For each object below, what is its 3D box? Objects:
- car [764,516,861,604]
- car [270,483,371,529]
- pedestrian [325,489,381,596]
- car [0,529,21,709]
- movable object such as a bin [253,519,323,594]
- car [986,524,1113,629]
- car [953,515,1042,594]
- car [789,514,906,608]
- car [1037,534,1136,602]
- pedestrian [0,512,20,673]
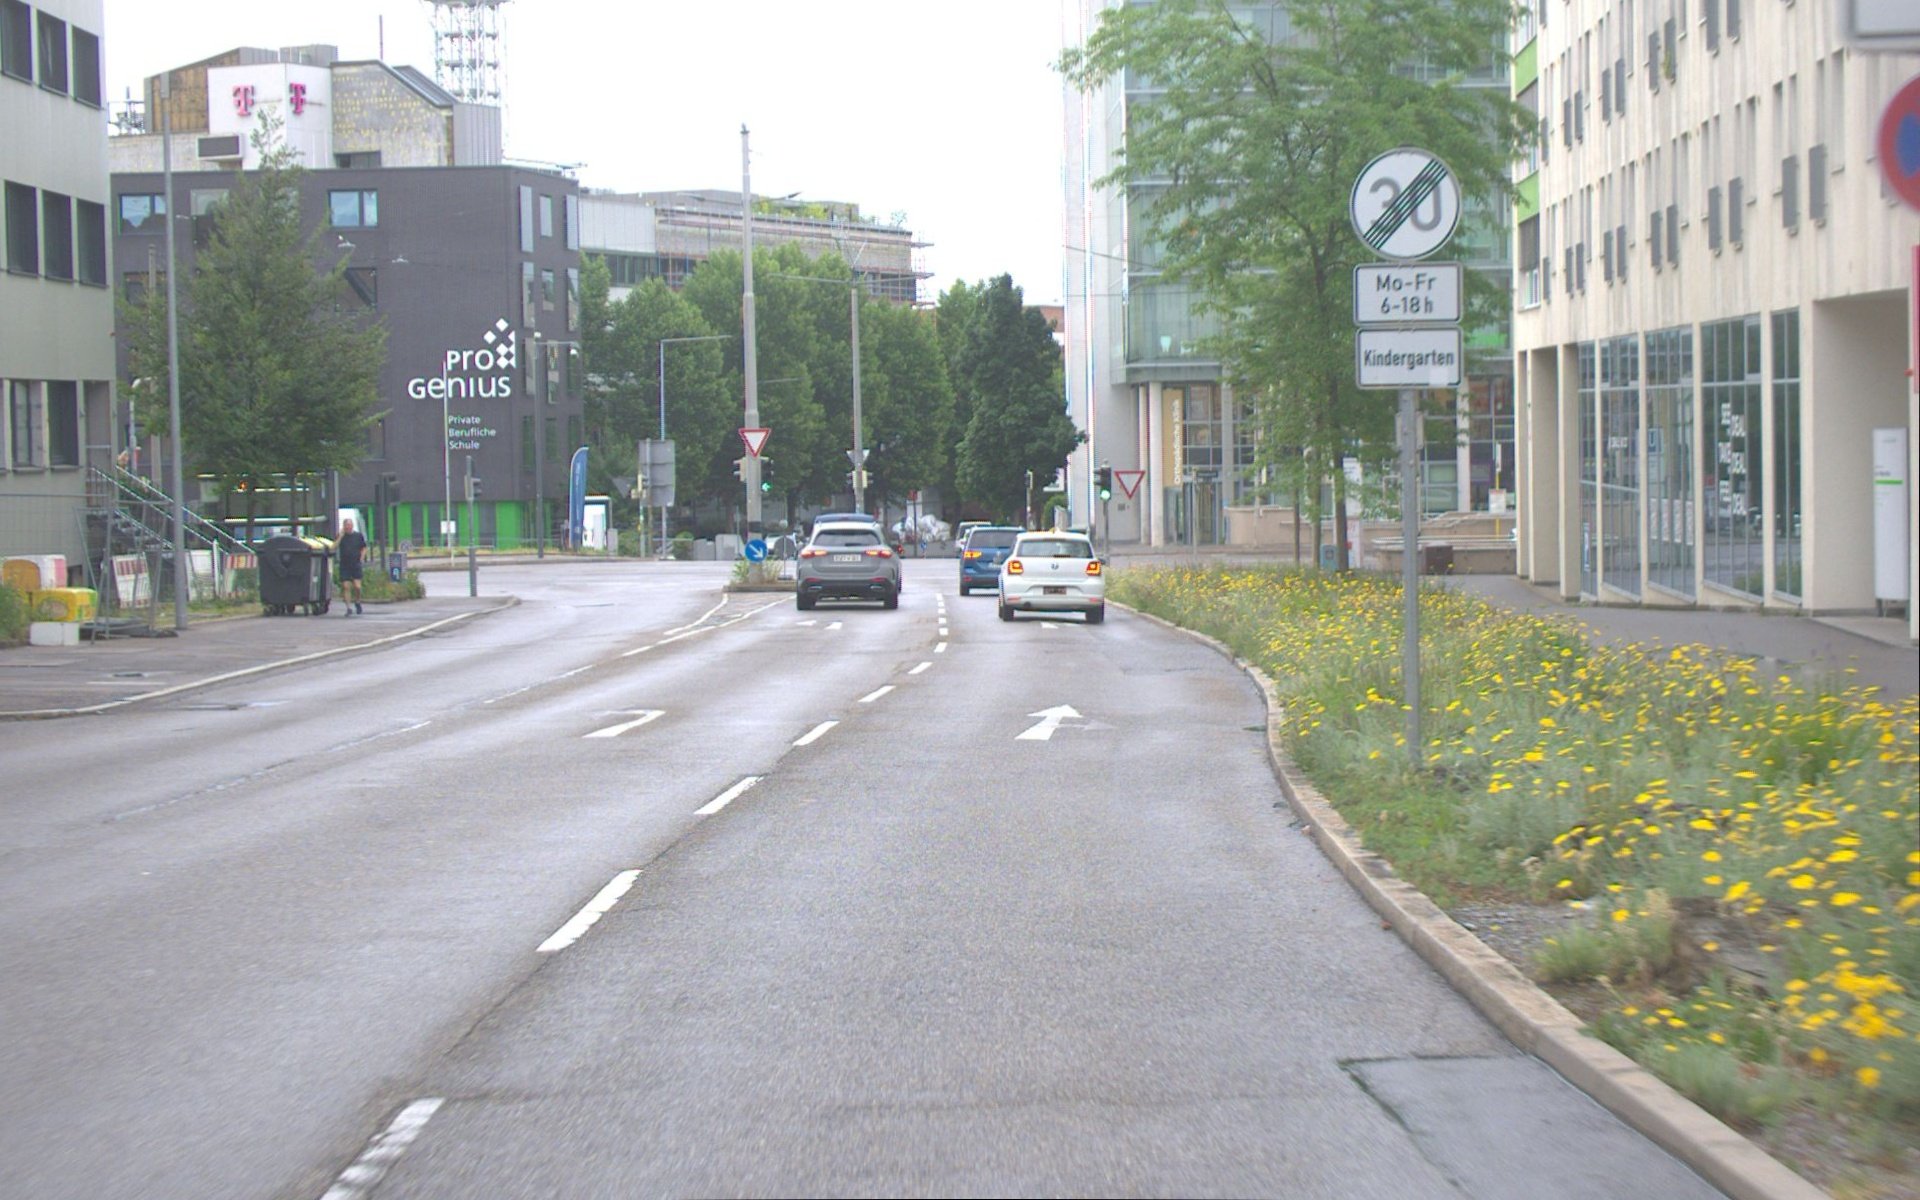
[{"bbox_3d":[-3.136,-0.865,72.821,1.993,1.812,4.001,0,1,-3],"label":"car"},{"bbox_3d":[-28.723,-4.206,154.370,3.989,2.007,1.999,0,1,12],"label":"car"},{"bbox_3d":[-11.129,-1.055,62.984,0.959,1.948,0.779,-1,1,-13],"label":"pedestrian"},{"bbox_3d":[-8.829,0.218,27.991,1.563,1.509,3.171,-2,2,-2],"label":"car"},{"bbox_3d":[-12.178,-0.790,62.285,1.205,1.316,0.875,-1,2,-12],"label":"movable object such as a bin"},{"bbox_3d":[1.459,-0.414,56.430,1.993,1.571,3.996,-1,2,1],"label":"car"},{"bbox_3d":[0.858,-1.092,80.747,1.993,1.744,3.673,-1,2,-1],"label":"car"},{"bbox_3d":[-2.097,-0.754,65.114,2.141,1.722,4.000,0,1,-1],"label":"car"},{"bbox_3d":[2.886,-0.755,78.961,1.993,1.503,4.000,0,1,-2],"label":"car"},{"bbox_3d":[-10.540,-0.078,36.766,0.728,1.702,0.903,-2,1,-28],"label":"pedestrian"}]
